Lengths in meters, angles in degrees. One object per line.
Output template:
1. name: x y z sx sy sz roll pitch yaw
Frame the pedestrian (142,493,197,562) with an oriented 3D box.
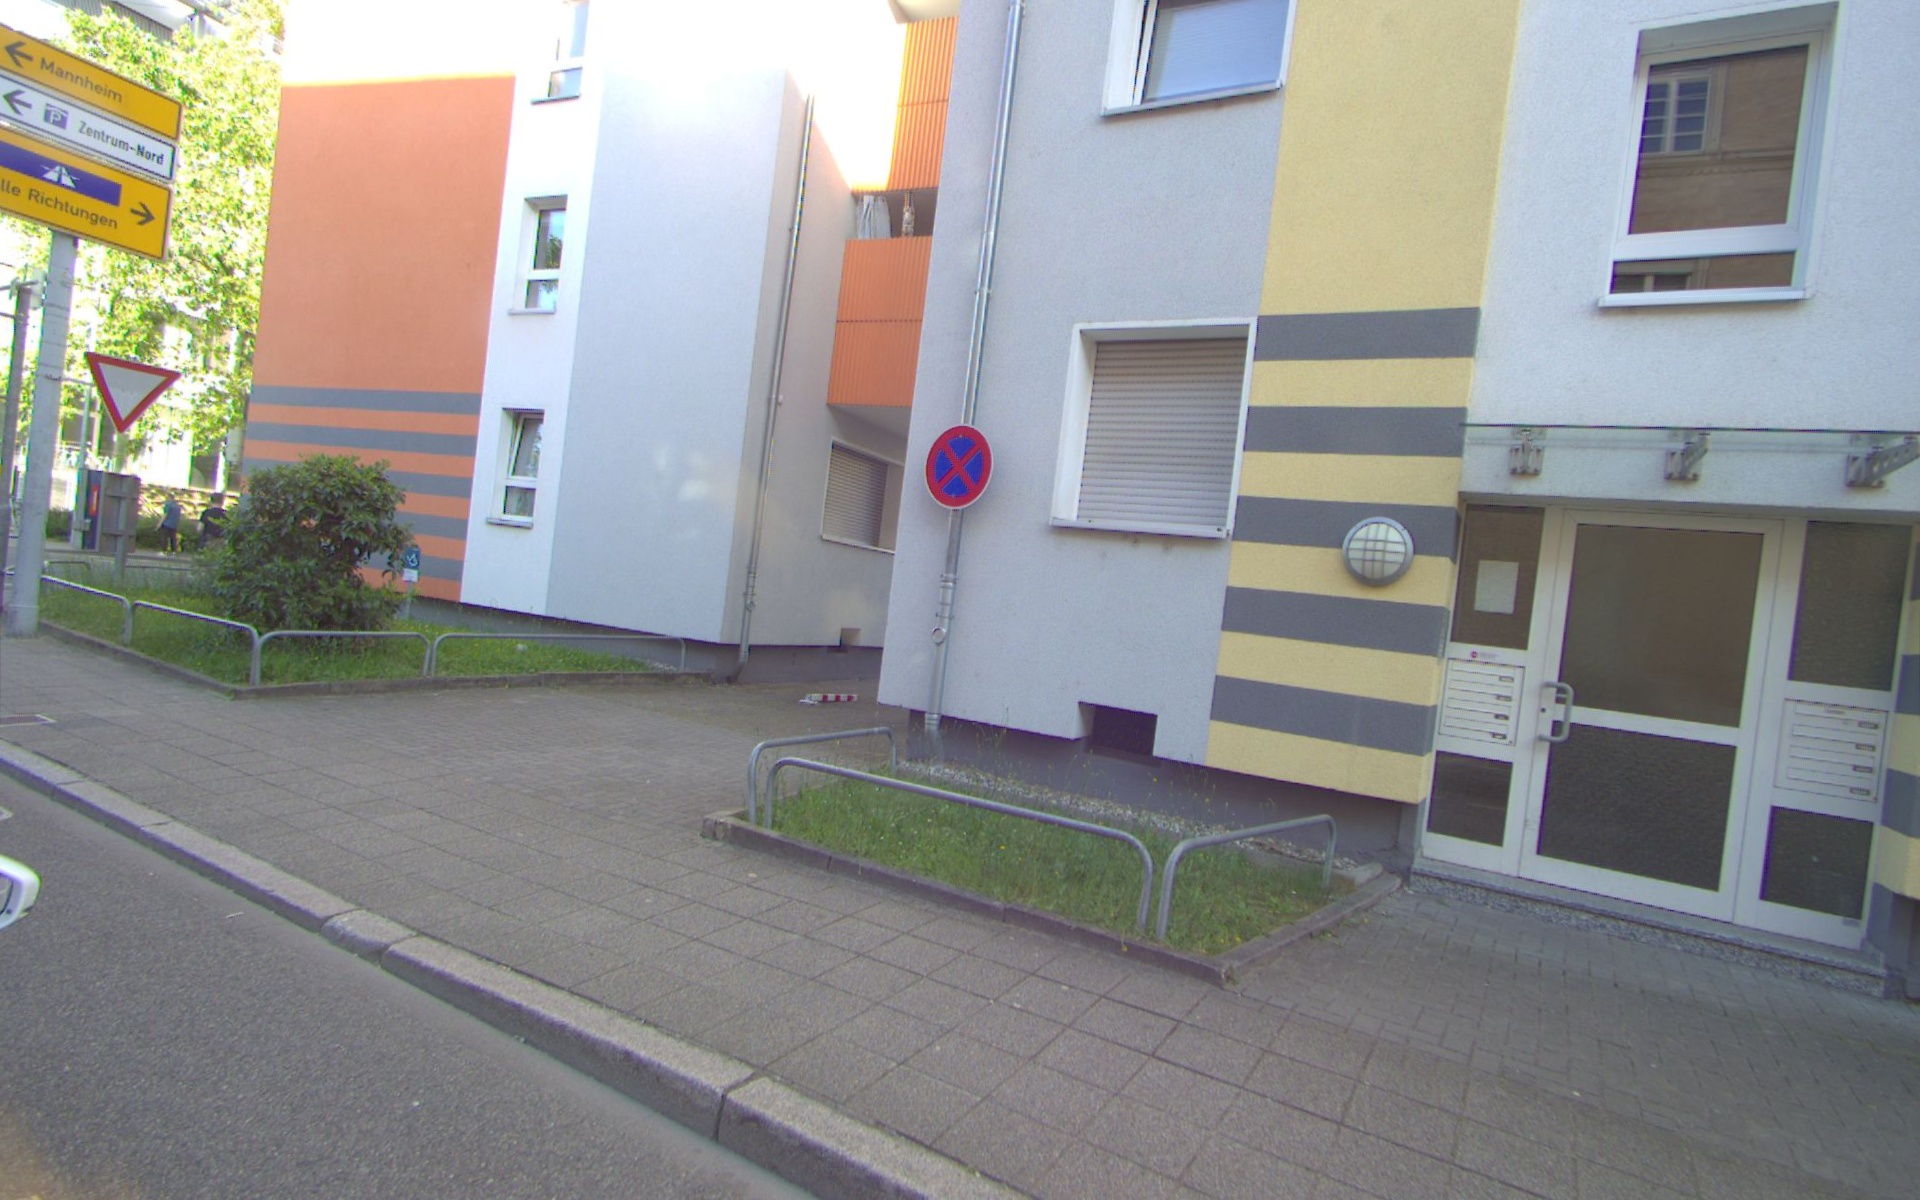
1. pedestrian: -23.080 -2.111 29.375 0.696 1.861 0.837 8 -1 22

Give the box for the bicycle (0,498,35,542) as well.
1. bicycle: -26.295 -2.247 27.359 1.658 1.063 0.508 9 2 -3

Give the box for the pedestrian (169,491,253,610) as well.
1. pedestrian: -12.709 -0.836 17.072 0.823 1.861 0.708 8 0 32
